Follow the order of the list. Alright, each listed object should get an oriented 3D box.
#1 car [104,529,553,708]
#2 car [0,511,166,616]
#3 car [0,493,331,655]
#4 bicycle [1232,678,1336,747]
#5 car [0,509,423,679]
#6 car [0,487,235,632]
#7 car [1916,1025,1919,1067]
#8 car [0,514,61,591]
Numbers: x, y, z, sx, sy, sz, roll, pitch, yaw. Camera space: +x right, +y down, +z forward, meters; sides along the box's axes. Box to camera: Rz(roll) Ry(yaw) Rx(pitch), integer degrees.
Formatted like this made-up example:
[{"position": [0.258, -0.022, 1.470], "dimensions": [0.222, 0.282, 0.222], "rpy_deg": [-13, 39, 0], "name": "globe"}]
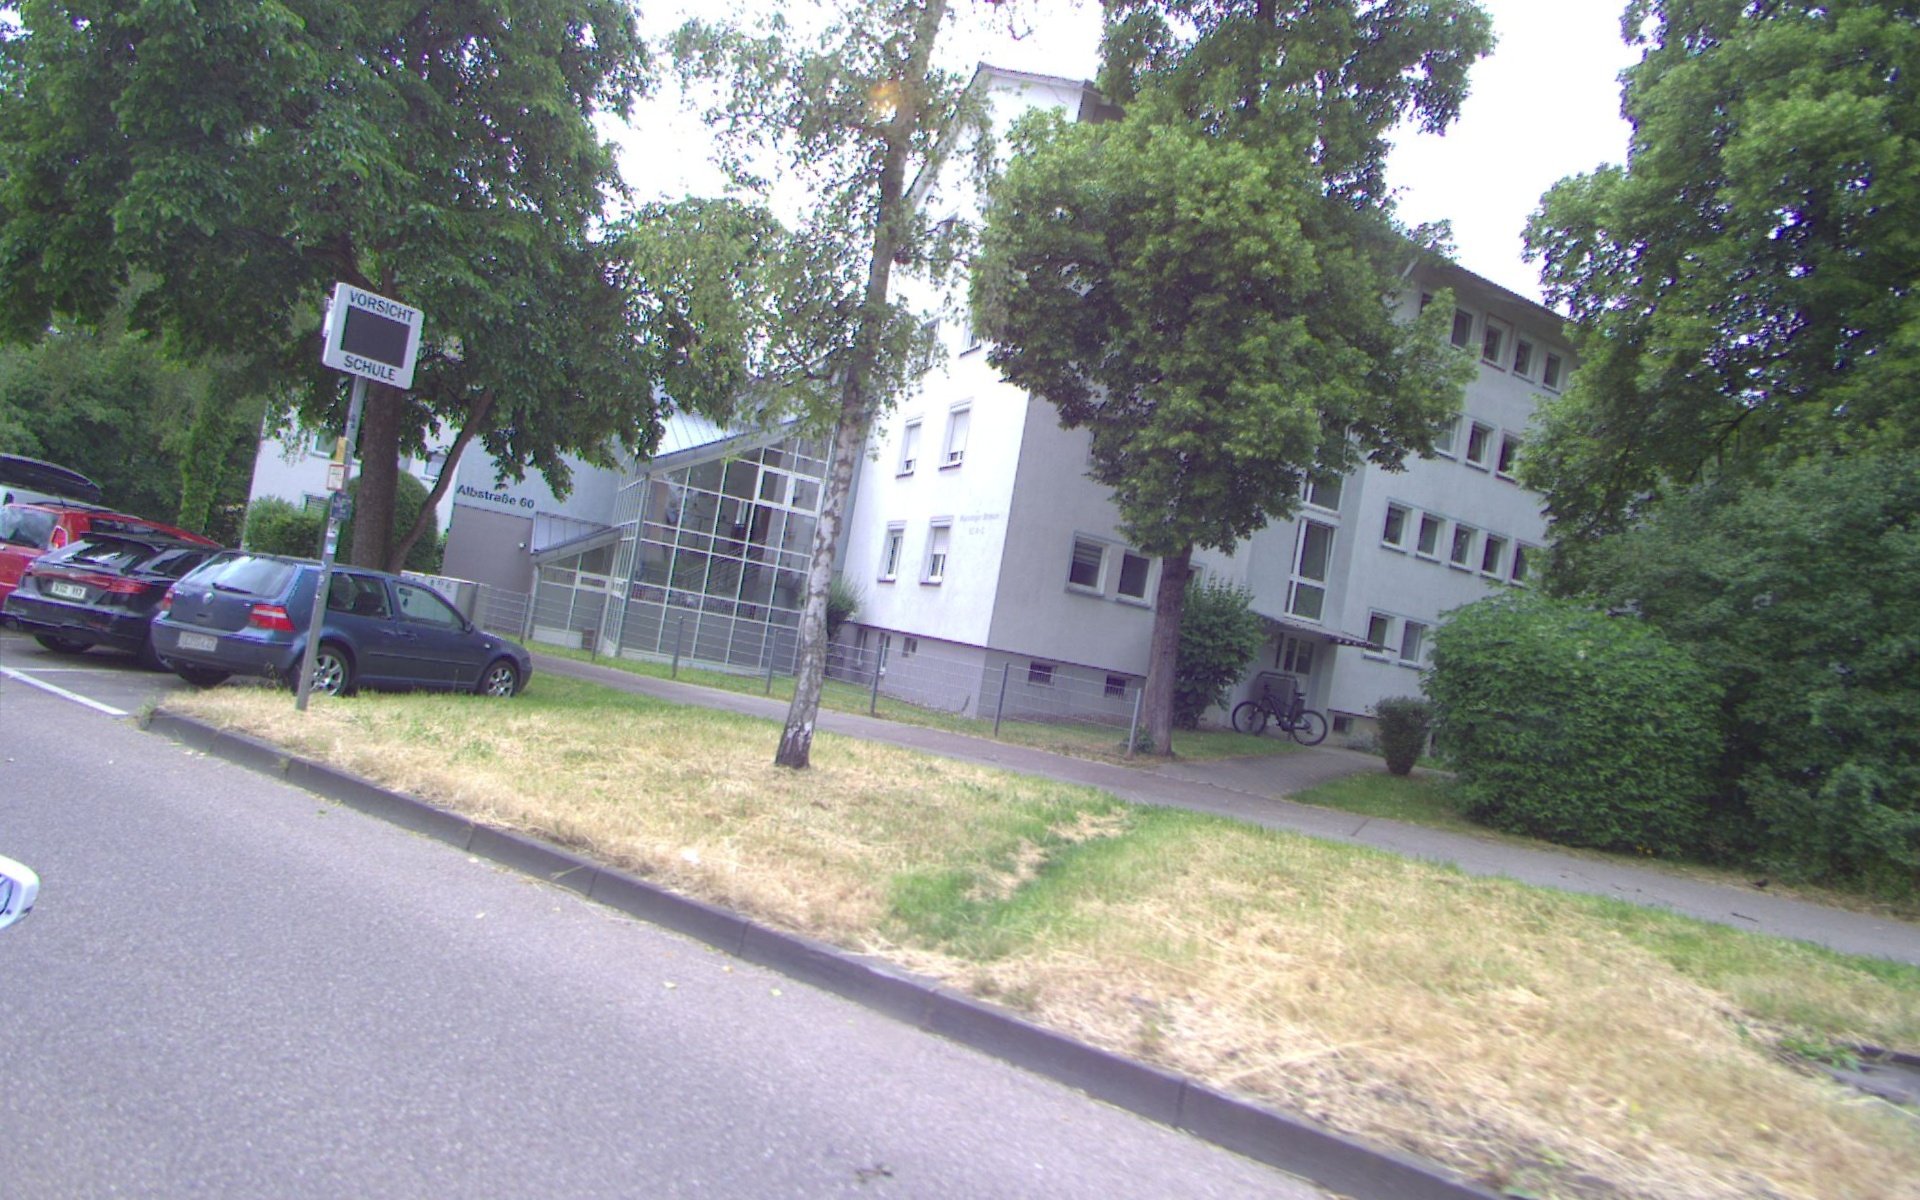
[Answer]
[{"position": [-6.741, 0.350, 11.328], "dimensions": [1.723, 1.420, 3.986], "rpy_deg": [8, -4, 17], "name": "car"}, {"position": [-16.375, -0.764, 17.130], "dimensions": [1.882, 1.464, 3.988], "rpy_deg": [8, -4, 16], "name": "car"}, {"position": [-11.357, -0.296, 14.024], "dimensions": [1.849, 1.636, 4.019], "rpy_deg": [8, -4, 16], "name": "car"}, {"position": [6.816, 2.361, 21.174], "dimensions": [1.894, 1.089, 0.541], "rpy_deg": [9, -3, 25], "name": "bicycle"}, {"position": [-8.863, 0.070, 12.206], "dimensions": [1.723, 1.420, 4.050], "rpy_deg": [8, -4, 14], "name": "car"}, {"position": [-13.781, -0.622, 15.512], "dimensions": [1.753, 1.773, 4.108], "rpy_deg": [8, -4, 5], "name": "car"}, {"position": [5.736, 1.727, 3.337], "dimensions": [1.700, 1.532, 4.092], "rpy_deg": [8, -3, 12], "name": "car"}, {"position": [-20.766, -1.234, 19.958], "dimensions": [1.809, 1.464, 3.906], "rpy_deg": [8, -4, 12], "name": "car"}]
